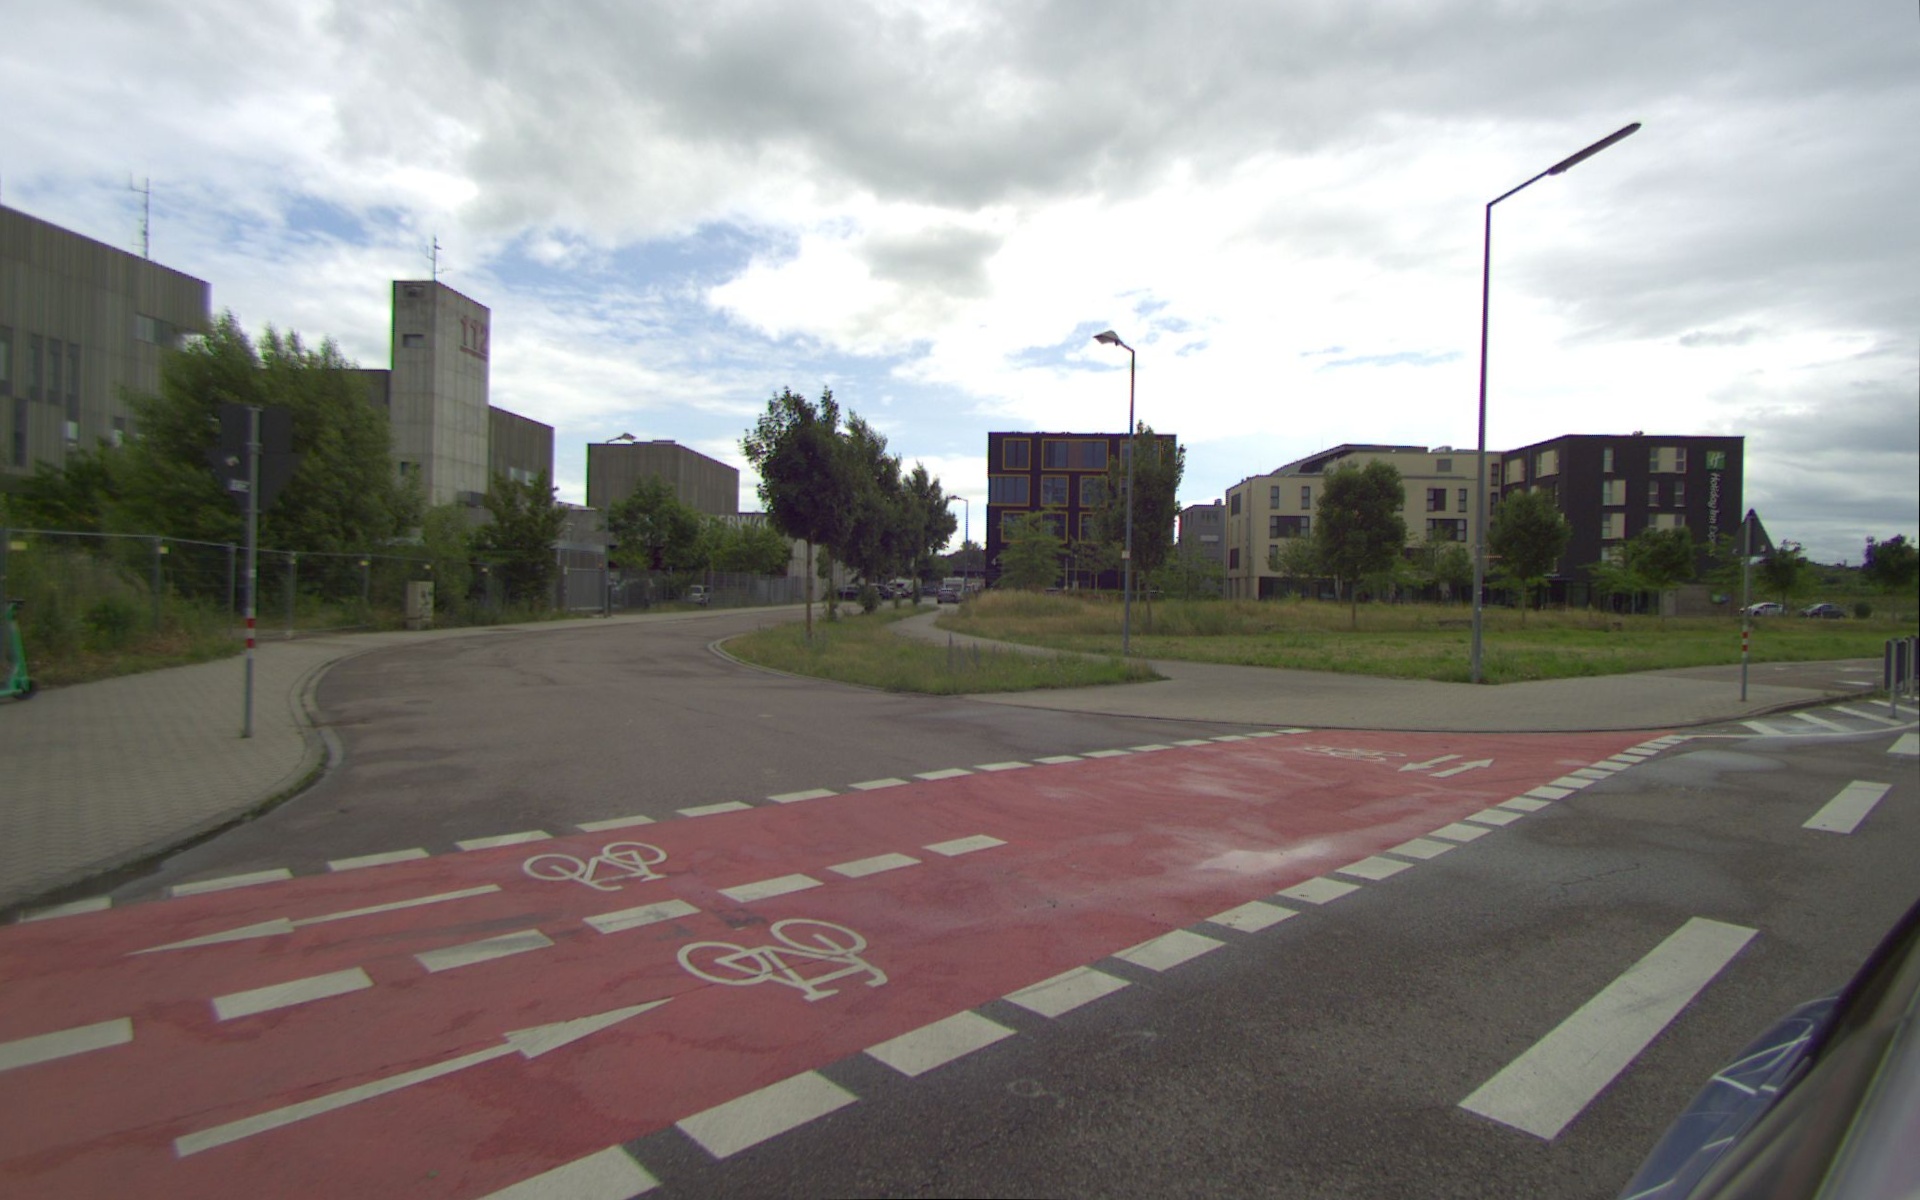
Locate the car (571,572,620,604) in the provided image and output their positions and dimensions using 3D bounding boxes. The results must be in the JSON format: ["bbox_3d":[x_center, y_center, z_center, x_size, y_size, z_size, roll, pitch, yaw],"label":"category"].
[{"bbox_3d":[-24.546,-0.827,68.308,1.961,2.039,4.002,1,1,-2],"label":"car"}]

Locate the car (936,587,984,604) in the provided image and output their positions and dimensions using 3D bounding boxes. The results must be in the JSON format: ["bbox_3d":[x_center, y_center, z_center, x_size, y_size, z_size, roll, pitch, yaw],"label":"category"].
[{"bbox_3d":[0.008,-0.398,86.526,3.934,1.349,1.560,2,1,9],"label":"car"}]

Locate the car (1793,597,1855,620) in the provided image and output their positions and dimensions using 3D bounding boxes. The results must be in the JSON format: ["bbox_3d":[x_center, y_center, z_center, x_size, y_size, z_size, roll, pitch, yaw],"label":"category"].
[{"bbox_3d":[80.051,0.764,93.779,3.927,2.039,1.999,1,1,3],"label":"car"}]

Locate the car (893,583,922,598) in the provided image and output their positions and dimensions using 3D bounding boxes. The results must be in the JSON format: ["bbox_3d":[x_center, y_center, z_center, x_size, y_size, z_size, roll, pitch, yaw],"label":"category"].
[{"bbox_3d":[-7.424,-1.377,142.852,3.926,2.039,1.999,1,0,2],"label":"car"}]

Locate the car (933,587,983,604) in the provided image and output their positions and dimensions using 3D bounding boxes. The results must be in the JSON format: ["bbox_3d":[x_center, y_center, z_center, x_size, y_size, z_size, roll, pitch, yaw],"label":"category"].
[{"bbox_3d":[-0.137,-0.391,84.052,3.934,1.349,1.560,2,1,9],"label":"car"}]

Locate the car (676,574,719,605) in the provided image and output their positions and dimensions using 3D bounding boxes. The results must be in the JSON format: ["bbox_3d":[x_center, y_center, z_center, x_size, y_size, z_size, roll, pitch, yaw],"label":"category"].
[{"bbox_3d":[-17.650,-0.713,68.281,1.961,2.039,4.002,1,1,-2],"label":"car"}]

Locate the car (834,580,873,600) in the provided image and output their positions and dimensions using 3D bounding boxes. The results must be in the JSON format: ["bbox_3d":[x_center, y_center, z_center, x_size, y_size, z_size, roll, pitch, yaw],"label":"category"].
[{"bbox_3d":[-11.305,-1.096,107.341,3.923,2.039,2.000,1,0,-1],"label":"car"}]

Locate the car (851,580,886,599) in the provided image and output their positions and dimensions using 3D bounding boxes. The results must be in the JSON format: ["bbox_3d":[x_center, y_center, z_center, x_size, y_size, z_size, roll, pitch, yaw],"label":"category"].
[{"bbox_3d":[-10.584,-1.214,117.082,3.923,2.039,2.001,1,0,-1],"label":"car"}]

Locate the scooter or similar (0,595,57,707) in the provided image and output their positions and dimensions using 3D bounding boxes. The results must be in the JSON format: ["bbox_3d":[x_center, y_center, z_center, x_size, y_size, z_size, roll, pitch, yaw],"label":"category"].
[{"bbox_3d":[-10.810,0.558,11.394,0.436,1.200,1.176,1,0,-13],"label":"scooter or similar"}]

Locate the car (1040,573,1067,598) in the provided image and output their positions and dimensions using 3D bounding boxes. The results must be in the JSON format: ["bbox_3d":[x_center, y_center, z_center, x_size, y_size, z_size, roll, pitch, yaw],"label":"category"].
[{"bbox_3d":[7.816,-1.216,84.913,1.962,2.039,3.999,1,1,1],"label":"car"}]

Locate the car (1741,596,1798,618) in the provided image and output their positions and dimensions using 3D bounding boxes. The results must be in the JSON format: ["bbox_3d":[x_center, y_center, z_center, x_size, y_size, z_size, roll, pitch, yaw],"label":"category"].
[{"bbox_3d":[80.884,0.689,101.177,3.927,2.039,1.999,1,1,3],"label":"car"}]

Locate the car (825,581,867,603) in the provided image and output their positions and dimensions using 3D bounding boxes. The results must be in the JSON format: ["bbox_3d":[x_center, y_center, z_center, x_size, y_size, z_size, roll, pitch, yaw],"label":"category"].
[{"bbox_3d":[-11.235,-0.829,99.759,3.923,2.039,2.000,1,0,-1],"label":"car"}]
